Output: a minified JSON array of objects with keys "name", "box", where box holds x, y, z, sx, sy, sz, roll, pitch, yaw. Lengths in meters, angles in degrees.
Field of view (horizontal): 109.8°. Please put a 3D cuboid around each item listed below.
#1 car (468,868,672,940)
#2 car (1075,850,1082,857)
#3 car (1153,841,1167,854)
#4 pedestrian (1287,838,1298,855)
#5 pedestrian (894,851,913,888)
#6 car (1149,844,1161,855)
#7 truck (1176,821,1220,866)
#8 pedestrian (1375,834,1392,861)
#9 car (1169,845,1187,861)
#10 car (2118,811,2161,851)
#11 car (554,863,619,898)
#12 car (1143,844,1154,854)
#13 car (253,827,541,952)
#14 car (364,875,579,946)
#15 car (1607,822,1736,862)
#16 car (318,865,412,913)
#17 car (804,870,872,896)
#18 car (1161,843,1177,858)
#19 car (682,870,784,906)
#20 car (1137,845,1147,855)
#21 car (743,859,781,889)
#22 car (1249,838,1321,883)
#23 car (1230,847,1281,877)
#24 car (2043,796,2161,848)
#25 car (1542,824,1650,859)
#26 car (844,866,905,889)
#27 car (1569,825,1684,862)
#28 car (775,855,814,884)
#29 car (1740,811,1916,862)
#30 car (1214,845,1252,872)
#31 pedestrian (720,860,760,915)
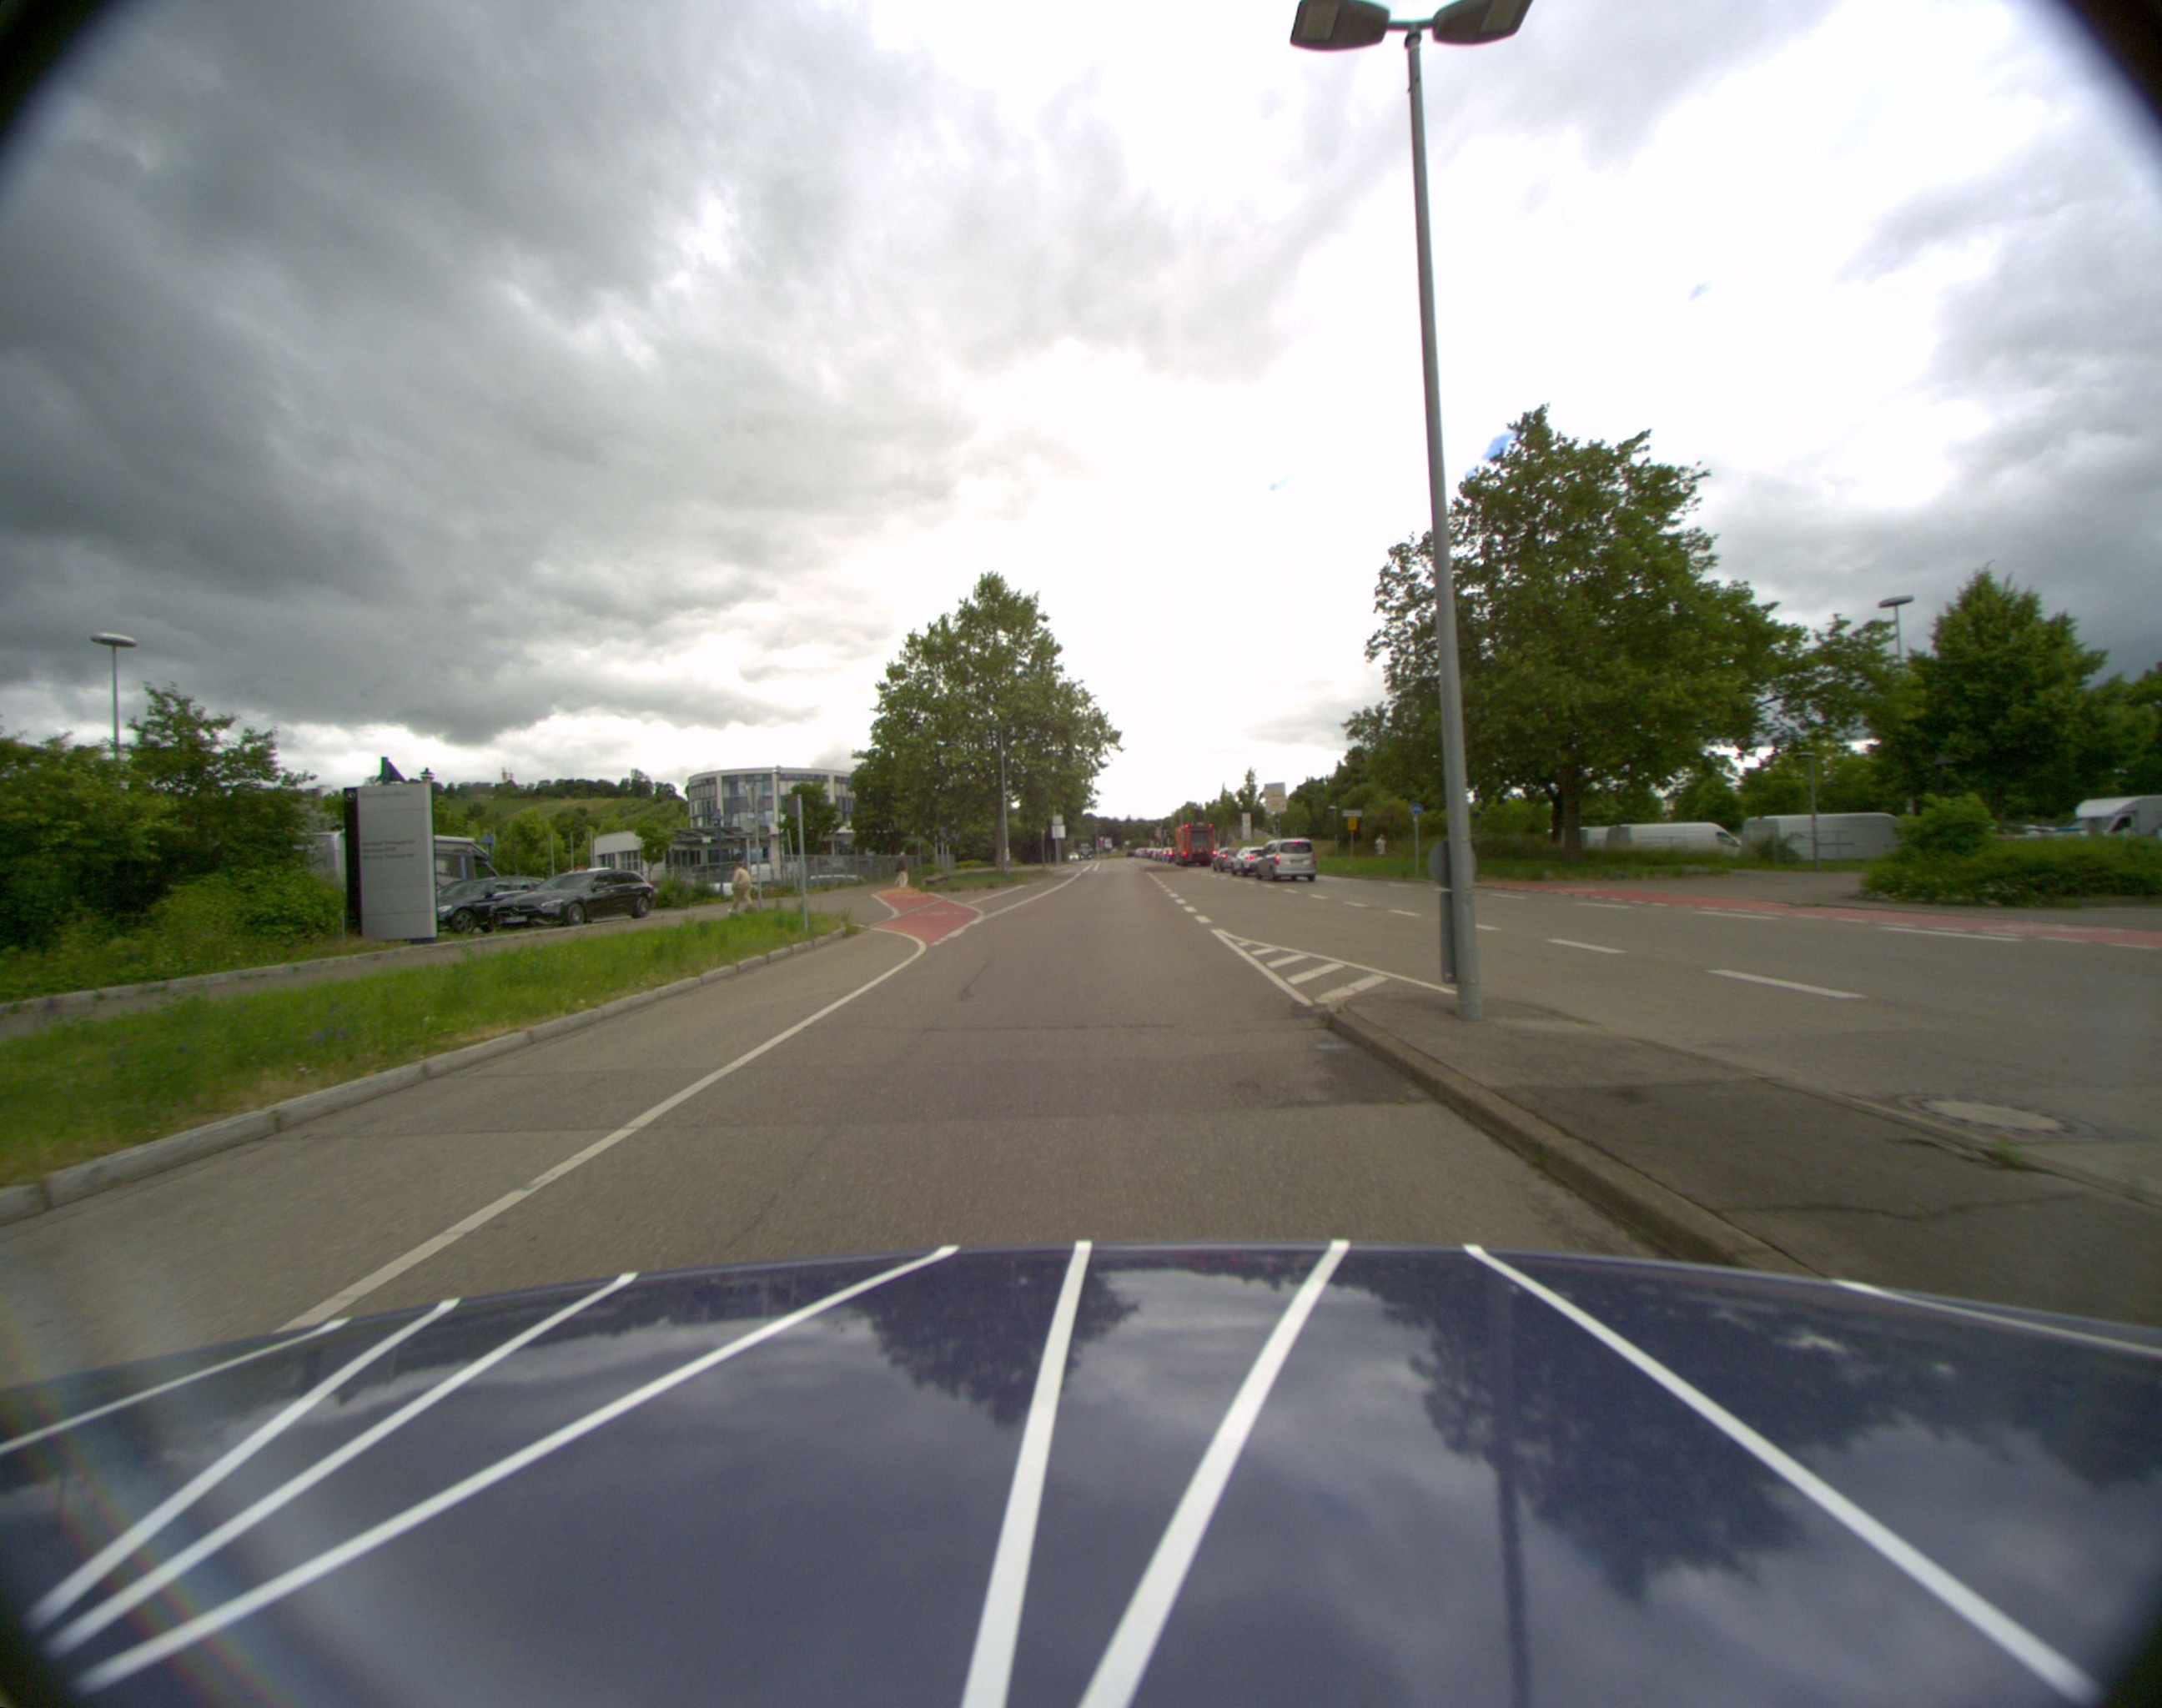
[{"name":"car","box":[-13.056,1.199,19.924,1.851,1.408,4.980,-4,0,1]},{"name":"car","box":[-0.607,-0.208,174.725,1.592,1.481,3.582,-2,1,-1]},{"name":"car","box":[10.466,-0.866,100.561,1.591,1.608,3.584,-2,1,4]},{"name":"pedestrian","box":[18.729,-0.643,67.318,0.757,1.439,0.639,-3,2,0]},{"name":"pedestrian","box":[-8.221,0.720,35.258,0.734,1.717,0.501,-1,2,-4]},{"name":"car","box":[10.722,-0.650,110.632,1.591,1.608,3.584,-2,1,4]},{"name":"truck","box":[9.754,-0.867,63.971,2.831,3.461,7.823,-2,1,3]},{"name":"pedestrian","box":[19.683,-0.441,49.434,0.757,1.727,0.638,-3,2,-9]},{"name":"car","box":[10.064,-0.094,79.211,1.591,1.608,3.351,-2,1,4]},{"name":"car","box":[52.246,-1.159,35.586,4.944,1.796,1.999,-3,2,-4]},{"name":"car","box":[-41.238,2.163,63.497,2.219,2.739,4.484,-2,0,3]},{"name":"car","box":[11.010,-0.785,123.881,1.591,1.608,3.584,-2,1,4]},{"name":"car","box":[-18.712,0.917,21.499,1.999,2.801,6.725,-5,-1,-1]},{"name":"car","box":[-15.869,1.399,20.190,1.851,1.408,4.616,-5,0,1]},{"name":"car","box":[30.610,-0.622,39.487,5.297,2.002,1.739,0,2,0]},{"name":"car","box":[-52.029,2.506,55.265,4.518,3.180,2.221,-2,0,-3]},{"name":"car","box":[-17.444,2.075,54.683,4.188,1.440,1.818,-5,0,-1]},{"name":"car","box":[10.177,-0.438,87.618,1.591,1.608,3.584,-2,1,4]},{"name":"car","box":[-17.074,1.660,37.374,3.996,1.310,2.001,-6,0,3]},{"name":"car","box":[10.469,-0.749,129.680,1.591,1.608,3.584,-2,1,4]},{"name":"car","box":[-26.208,1.624,62.353,2.119,2.261,4.473,-2,0,-32]},{"name":"car","box":[8.870,0.252,33.442,1.833,1.760,4.405,-3,1,-1]},{"name":"car","box":[8.981,0.378,39.472,1.733,1.478,4.122,-1,1,0]},{"name":"car","box":[53.702,-1.682,38.646,6.956,2.399,1.999,-3,2,1]},{"name":"car","box":[30.586,-0.754,45.193,5.298,2.002,1.739,-1,2,-1]},{"name":"car","box":[-16.216,1.822,59.752,4.188,1.440,1.818,-5,0,-1]},{"name":"car","box":[30.580,-0.600,42.669,5.298,2.002,1.739,-1,1,-1]},{"name":"car","box":[-23.763,1.313,62.885,2.119,2.261,4.473,-2,0,-32]},{"name":"car","box":[30.713,-0.730,31.349,5.298,2.002,2.011,-1,2,-1]},{"name":"car","box":[9.372,0.264,47.040,1.639,1.553,3.351,-2,1,0]},{"name":"pedestrian","box":[-10.278,0.985,22.895,0.814,1.558,0.941,-3,3,-41]}]
